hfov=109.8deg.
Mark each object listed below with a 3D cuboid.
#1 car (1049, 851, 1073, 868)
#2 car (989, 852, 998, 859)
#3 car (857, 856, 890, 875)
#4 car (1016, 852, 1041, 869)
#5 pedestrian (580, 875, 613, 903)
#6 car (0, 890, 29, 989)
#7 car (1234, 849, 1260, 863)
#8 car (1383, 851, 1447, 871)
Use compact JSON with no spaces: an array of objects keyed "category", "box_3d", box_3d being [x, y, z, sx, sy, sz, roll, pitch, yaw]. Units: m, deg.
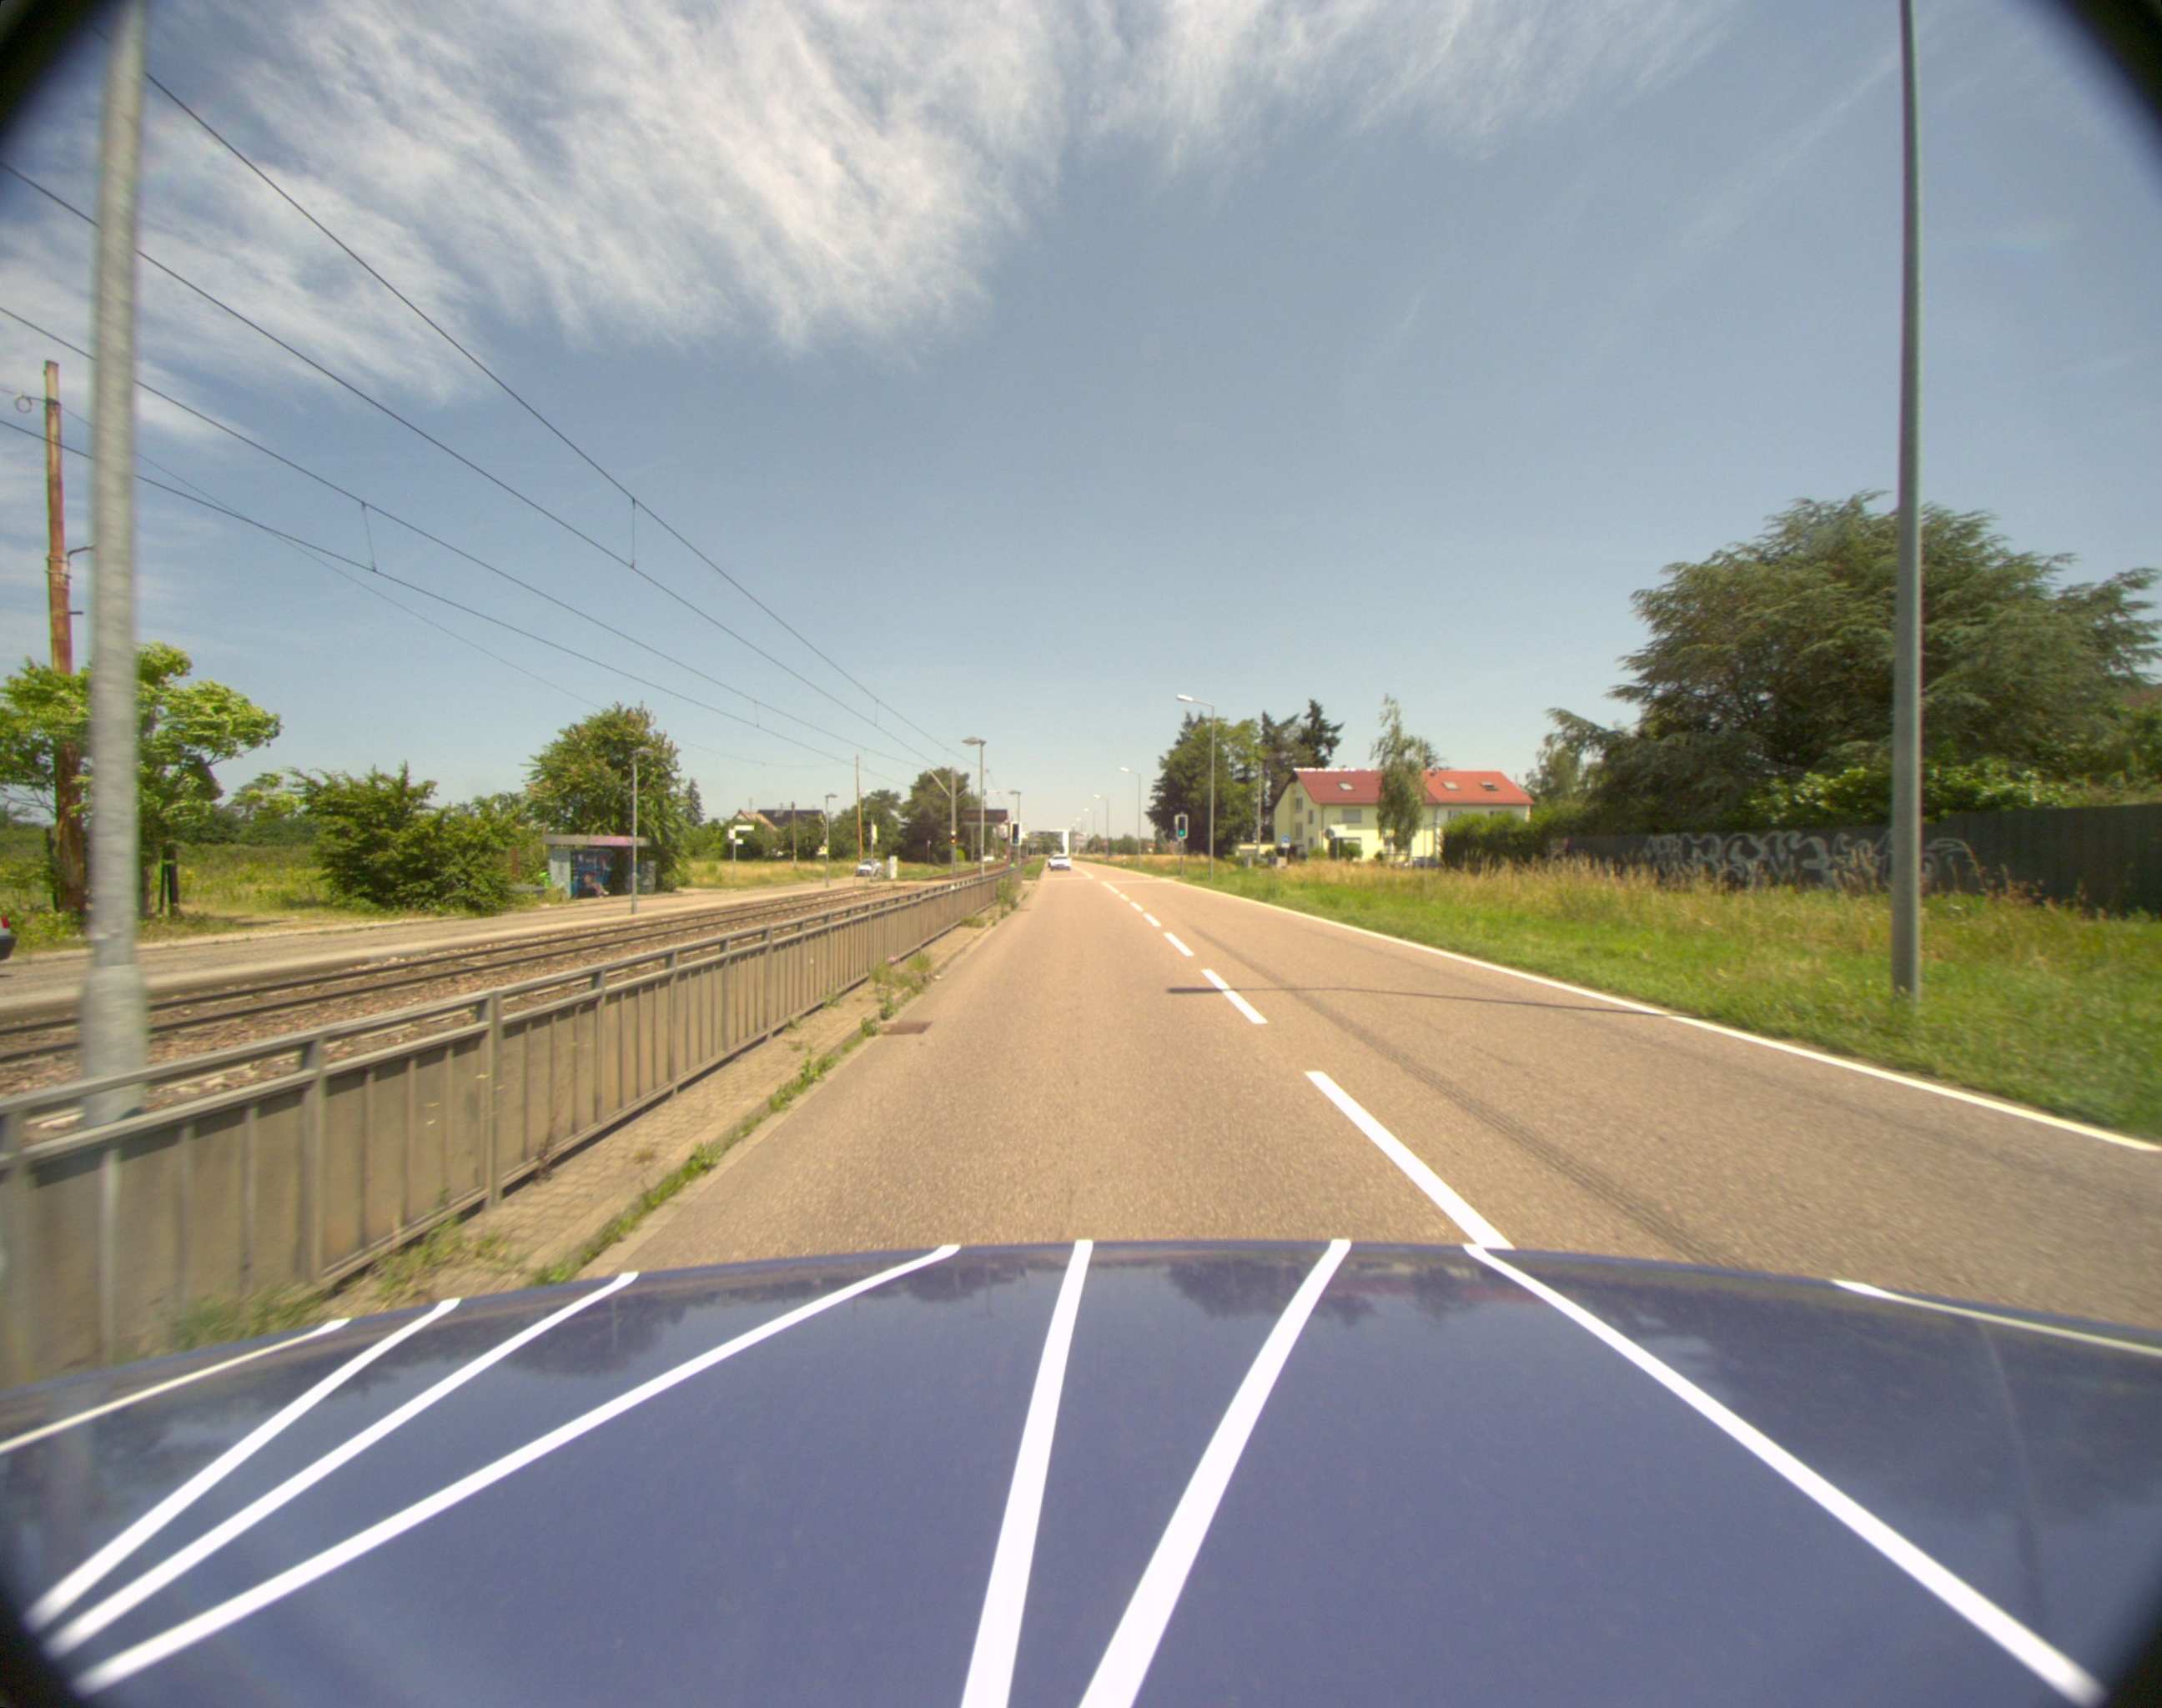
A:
[{"category":"car","box_3d":[-1.777,0.504,68.849,1.856,1.447,3.706,-2,1,3]},{"category":"car","box_3d":[-22.737,0.419,198.271,1.863,1.816,4.586,-2,1,-2]},{"category":"car","box_3d":[-17.734,0.973,65.019,1.717,1.480,4.000,-2,1,-1]},{"category":"car","box_3d":[-5.126,0.620,75.132,1.998,1.576,4.000,-2,1,3]},{"category":"pedestrian","box_3d":[-19.080,1.368,29.936,0.810,1.080,0.719,-1,1,8]},{"category":"car","box_3d":[-16.684,1.294,9.316,1.944,1.414,3.999,-2,1,0]},{"category":"car","box_3d":[18.203,0.187,83.328,1.711,1.483,4.185,-2,1,-3]},{"category":"car","box_3d":[25.780,0.521,58.700,3.999,1.346,1.999,-2,1,-6]}]
